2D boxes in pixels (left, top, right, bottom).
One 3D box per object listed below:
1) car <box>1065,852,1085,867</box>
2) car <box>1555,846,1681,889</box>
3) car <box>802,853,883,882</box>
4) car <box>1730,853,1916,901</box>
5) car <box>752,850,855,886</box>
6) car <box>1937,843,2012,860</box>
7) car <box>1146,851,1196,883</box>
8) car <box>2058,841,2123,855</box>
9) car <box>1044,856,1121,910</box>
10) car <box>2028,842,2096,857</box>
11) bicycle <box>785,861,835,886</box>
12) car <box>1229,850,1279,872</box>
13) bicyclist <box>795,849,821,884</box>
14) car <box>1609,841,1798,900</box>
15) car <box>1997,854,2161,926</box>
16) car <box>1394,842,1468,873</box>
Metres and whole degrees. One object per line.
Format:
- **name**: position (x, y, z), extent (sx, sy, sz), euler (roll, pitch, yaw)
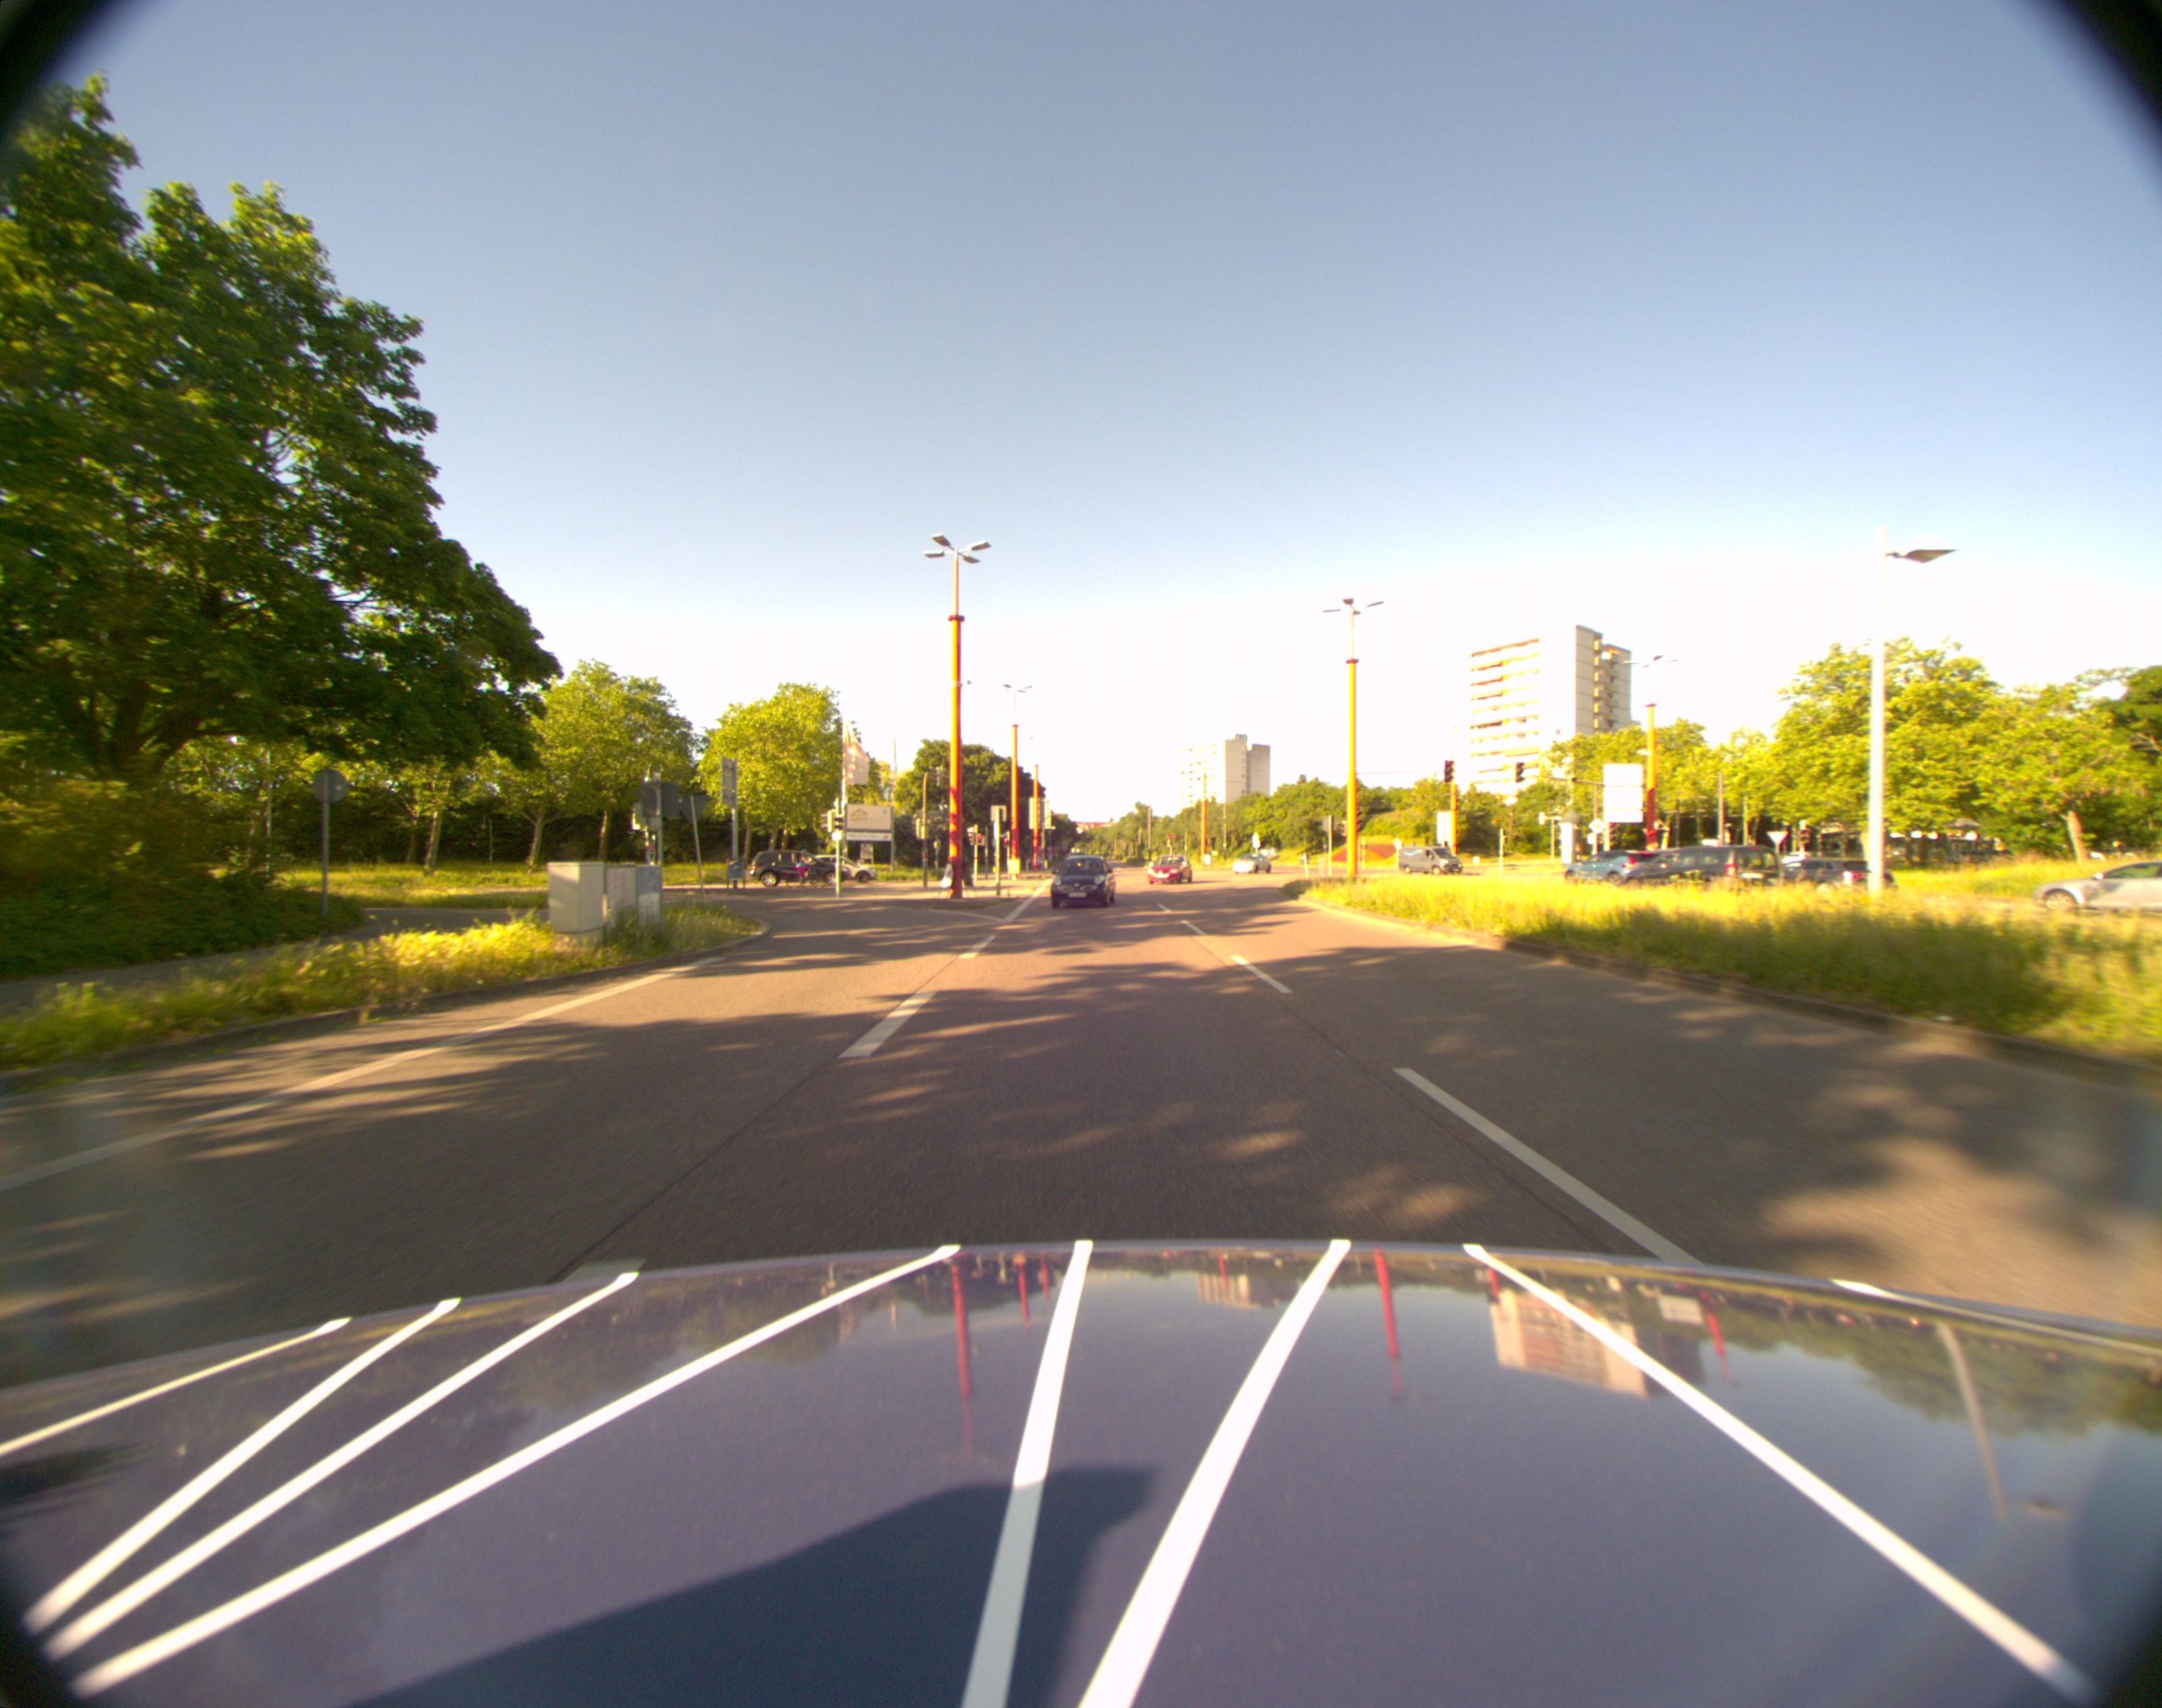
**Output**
- **car**: position (-0.660, 0.561, 80.878), extent (1.999, 1.486, 4.288), euler (0, 0, -2)
- **car**: position (21.663, 0.494, 30.916), extent (1.903, 1.601, 4.565), euler (1, 0, 0)
- **car**: position (-13.032, 0.722, 41.599), extent (4.094, 1.529, 1.770), euler (0, 0, -18)
- **car**: position (25.226, 0.712, 26.127), extent (1.903, 1.466, 4.565), euler (1, 0, 0)
- **car**: position (-13.562, 0.657, 37.435), extent (4.657, 1.716, 1.905), euler (0, 0, -17)
- **car**: position (81.658, -0.241, 69.479), extent (4.040, 1.478, 1.818), euler (-1, -1, 22)
- **car**: position (4.745, 0.655, 39.341), extent (1.769, 1.549, 4.732), euler (0, 0, 17)
- **car**: position (113.082, -0.667, 85.190), extent (4.040, 1.490, 1.798), euler (-1, -1, 20)
- **car**: position (0.160, 0.822, 23.689), extent (1.738, 1.474, 4.625), euler (0, 0, 9)
- **car**: position (103.131, -0.485, 79.933), extent (4.039, 1.490, 1.799), euler (-1, -1, 23)
- **bicycle**: position (-12.221, 0.883, 34.261), extent (2.015, 1.085, 0.765), euler (0, 1, -10)
- **car**: position (12.980, 0.490, 56.842), extent (1.909, 1.549, 4.736), euler (0, 0, 36)
- **bicyclist**: position (-12.300, 0.541, 34.245), extent (0.981, 1.548, 0.761), euler (0, 1, -10)
- **car**: position (18.373, 0.428, 22.761), extent (1.903, 1.556, 4.565), euler (1, 0, 0)
- **car**: position (25.478, 0.842, 18.040), extent (1.903, 1.601, 4.565), euler (1, 0, 0)
- **car**: position (26.621, 0.247, 58.097), extent (2.042, 2.191, 5.654), euler (-1, 0, -14)
